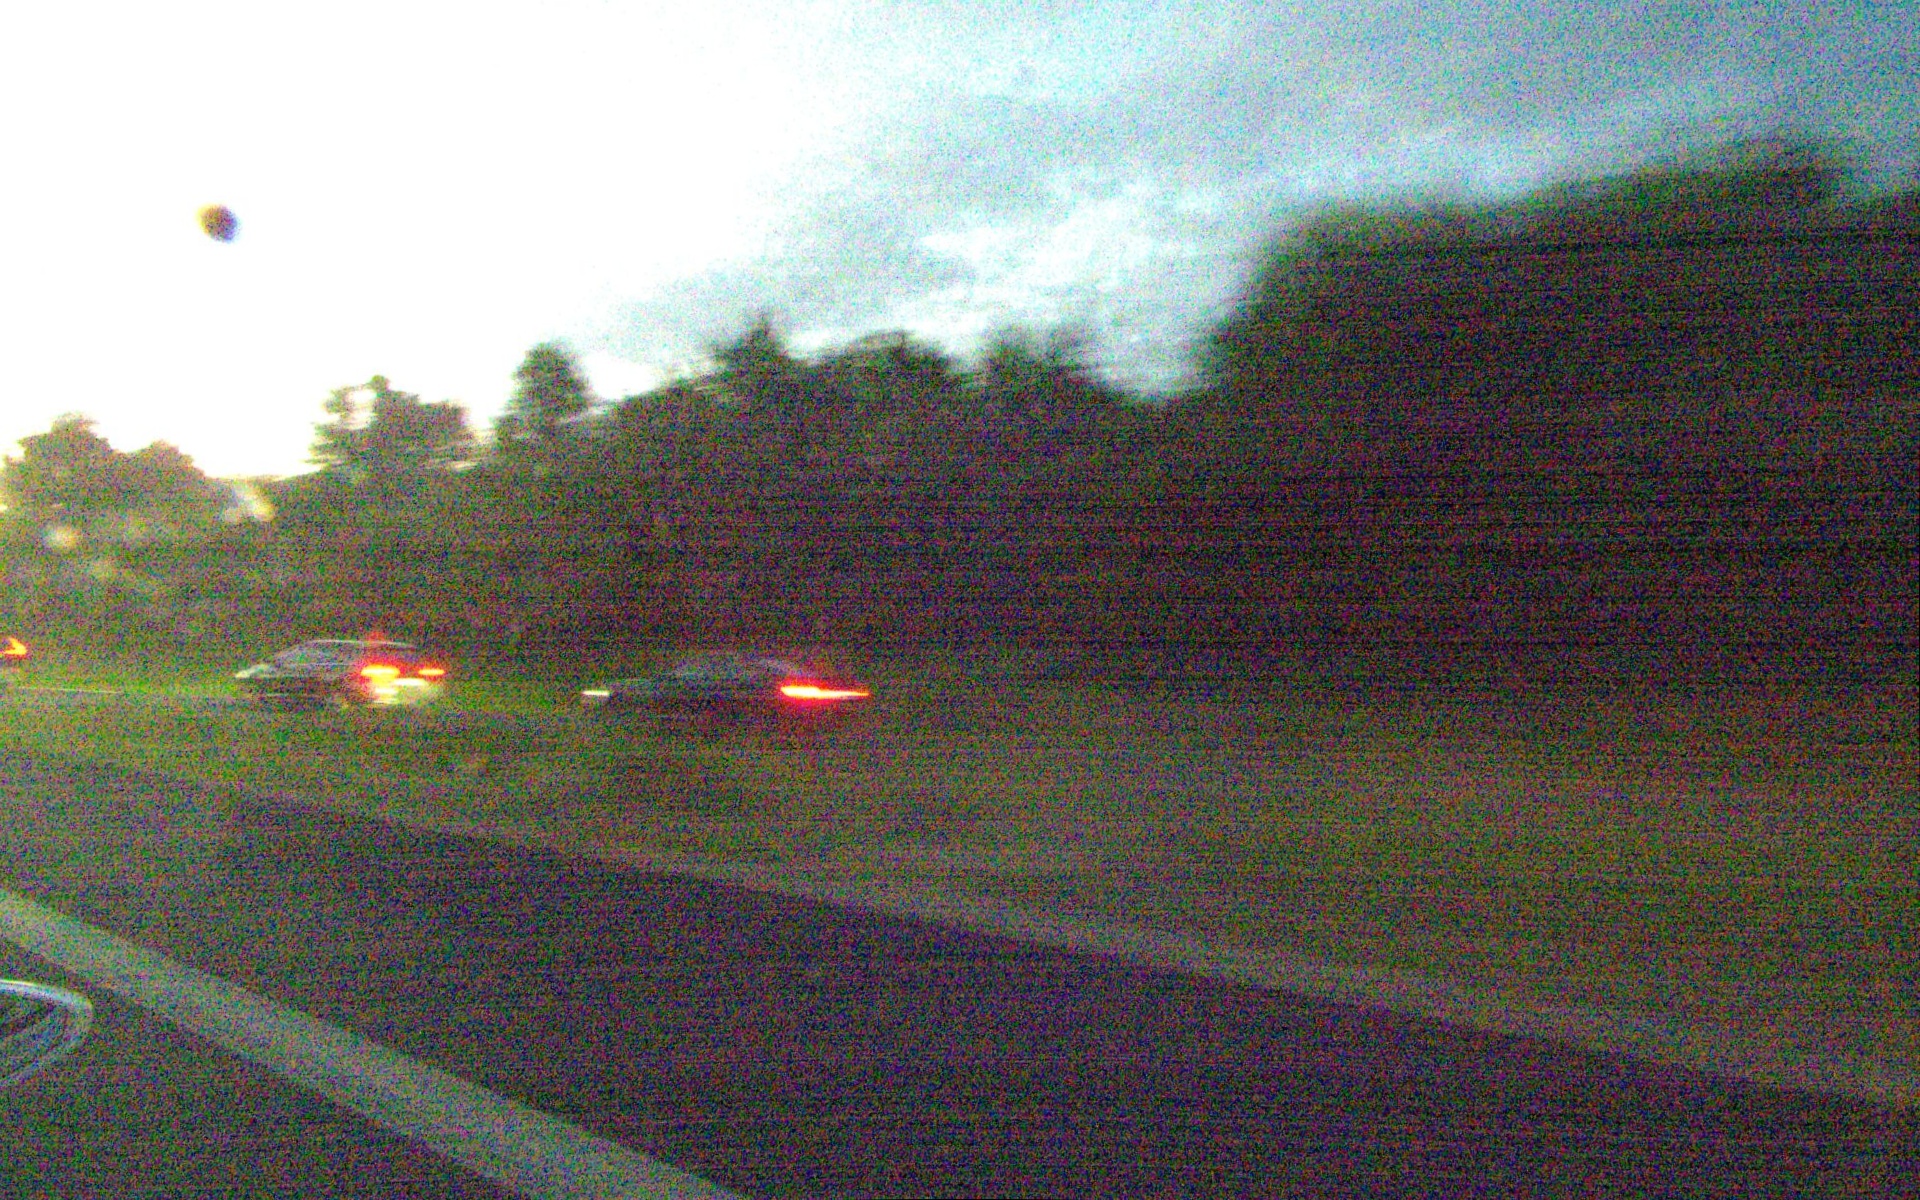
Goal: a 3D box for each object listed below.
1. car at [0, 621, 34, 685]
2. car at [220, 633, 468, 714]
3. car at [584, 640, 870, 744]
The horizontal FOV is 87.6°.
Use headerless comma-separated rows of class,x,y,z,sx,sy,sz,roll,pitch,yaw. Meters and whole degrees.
car,-27.626,1.423,27.306,5.078,1.667,1.797,-1,-1,27
car,-12.714,1.480,20.626,5.033,1.509,1.800,-1,-4,25
car,-3.839,1.456,16.448,4.362,1.509,1.800,-1,-4,25
